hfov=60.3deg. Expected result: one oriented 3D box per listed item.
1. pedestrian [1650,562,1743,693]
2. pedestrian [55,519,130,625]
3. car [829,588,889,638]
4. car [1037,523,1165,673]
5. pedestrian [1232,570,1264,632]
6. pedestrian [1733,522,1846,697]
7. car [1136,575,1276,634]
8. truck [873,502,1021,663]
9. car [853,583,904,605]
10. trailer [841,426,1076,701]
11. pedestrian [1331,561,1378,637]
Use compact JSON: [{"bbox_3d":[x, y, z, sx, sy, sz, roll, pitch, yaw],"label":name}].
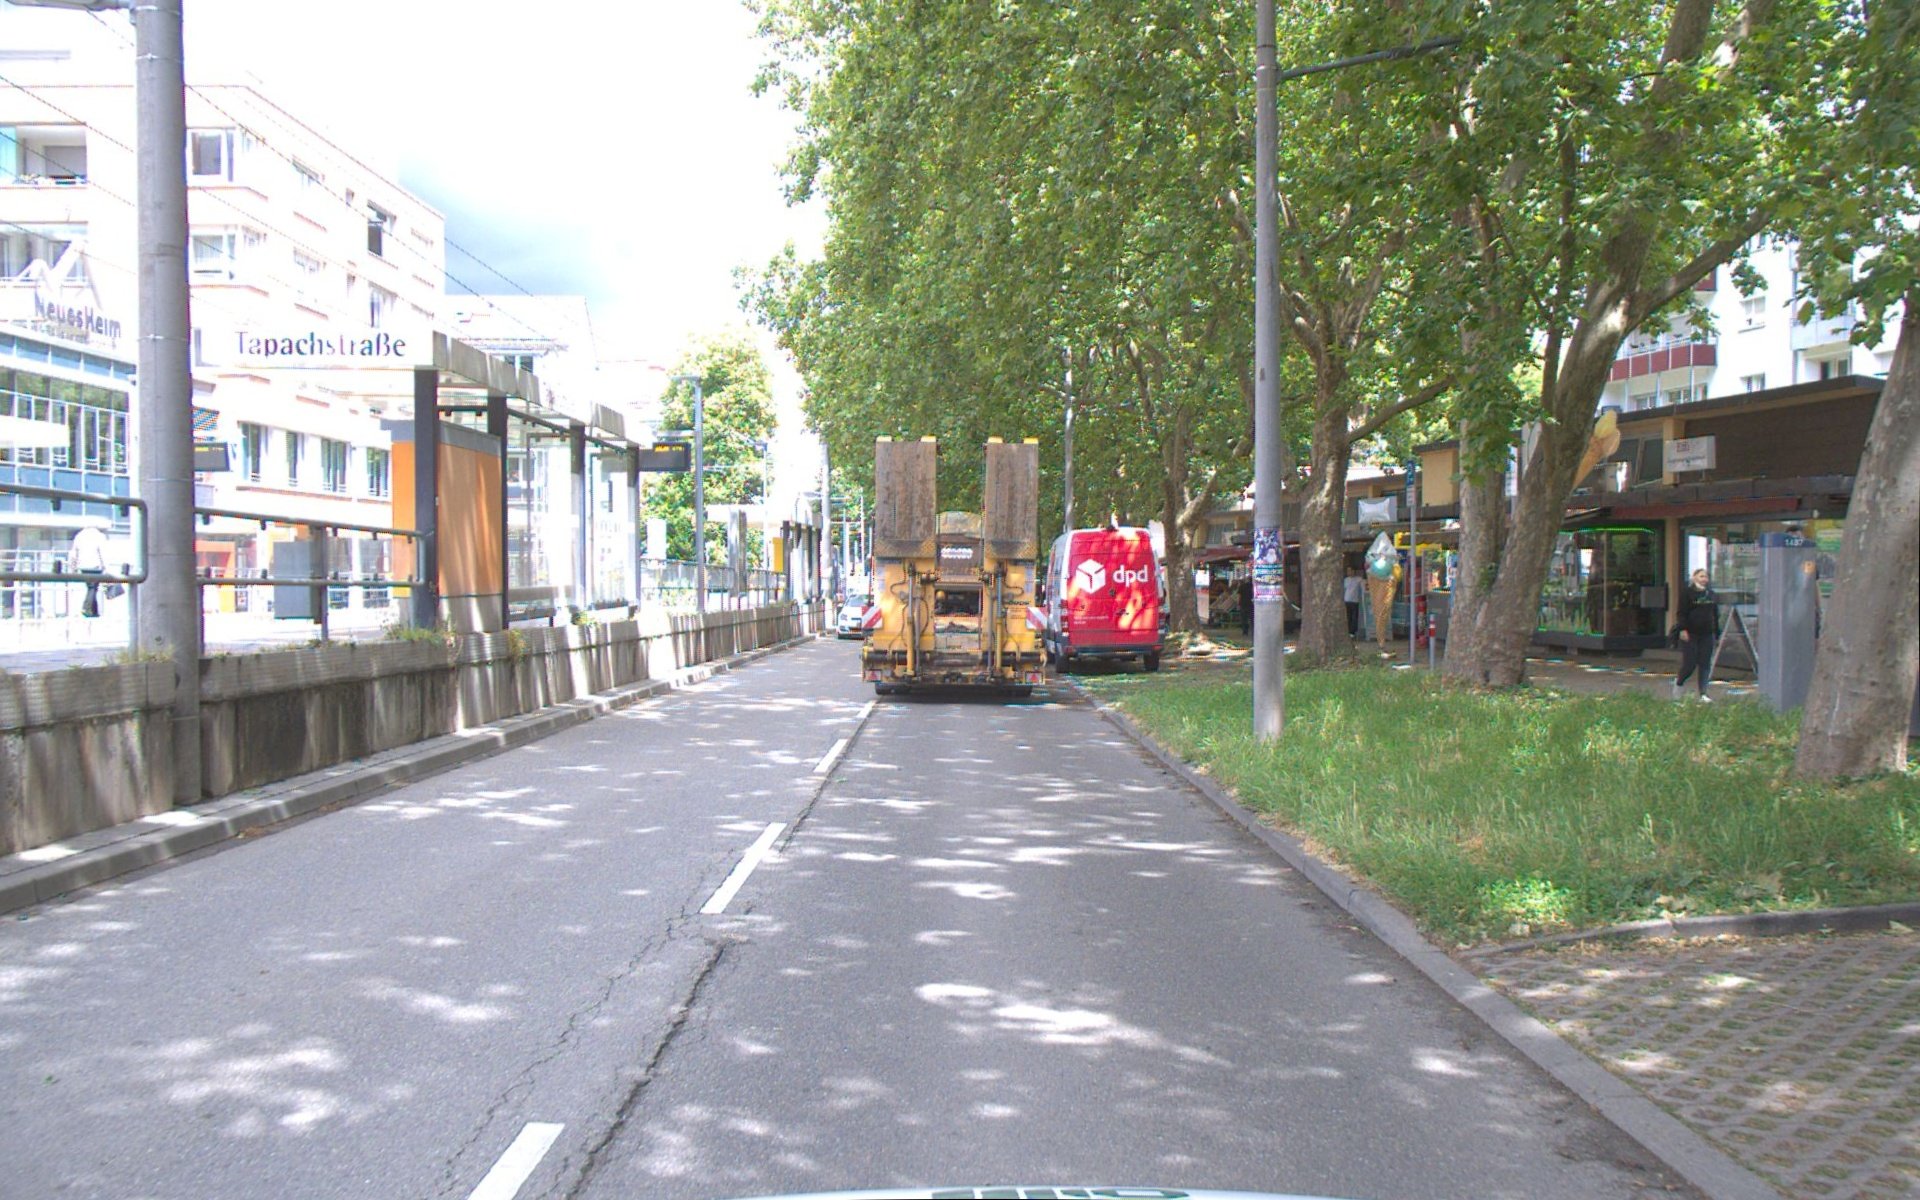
[{"bbox_3d":[8.538,0.307,19.199,0.612,1.473,1.028,0,0,-1],"label":"pedestrian"},{"bbox_3d":[-13.807,-0.443,26.335,0.736,1.657,0.816,1,0,0],"label":"pedestrian"},{"bbox_3d":[-3.077,0.387,50.980,1.697,1.420,3.750,2,0,-2],"label":"car"},{"bbox_3d":[2.677,-0.040,32.949,1.865,2.626,6.833,-2,0,0],"label":"car"},{"bbox_3d":[8.297,0.039,47.673,0.744,1.755,0.658,-1,0,-5],"label":"pedestrian"},{"bbox_3d":[9.429,0.104,18.833,0.728,1.916,0.941,-2,0,-1],"label":"pedestrian"},{"bbox_3d":[7.218,0.126,48.672,3.757,1.589,1.617,-1,0,-7],"label":"car"},{"bbox_3d":[-0.359,-0.366,37.075,2.929,3.190,7.885,1,0,-2],"label":"truck"},{"bbox_3d":[-8.437,-0.641,171.641,5.004,2.139,1.969,1,0,-15],"label":"car"},{"bbox_3d":[-0.154,-0.507,27.599,3.090,3.614,11.093,1,0,-1],"label":"trailer"},{"bbox_3d":[9.624,-0.013,40.336,0.910,1.833,0.602,-2,-1,44],"label":"pedestrian"}]
